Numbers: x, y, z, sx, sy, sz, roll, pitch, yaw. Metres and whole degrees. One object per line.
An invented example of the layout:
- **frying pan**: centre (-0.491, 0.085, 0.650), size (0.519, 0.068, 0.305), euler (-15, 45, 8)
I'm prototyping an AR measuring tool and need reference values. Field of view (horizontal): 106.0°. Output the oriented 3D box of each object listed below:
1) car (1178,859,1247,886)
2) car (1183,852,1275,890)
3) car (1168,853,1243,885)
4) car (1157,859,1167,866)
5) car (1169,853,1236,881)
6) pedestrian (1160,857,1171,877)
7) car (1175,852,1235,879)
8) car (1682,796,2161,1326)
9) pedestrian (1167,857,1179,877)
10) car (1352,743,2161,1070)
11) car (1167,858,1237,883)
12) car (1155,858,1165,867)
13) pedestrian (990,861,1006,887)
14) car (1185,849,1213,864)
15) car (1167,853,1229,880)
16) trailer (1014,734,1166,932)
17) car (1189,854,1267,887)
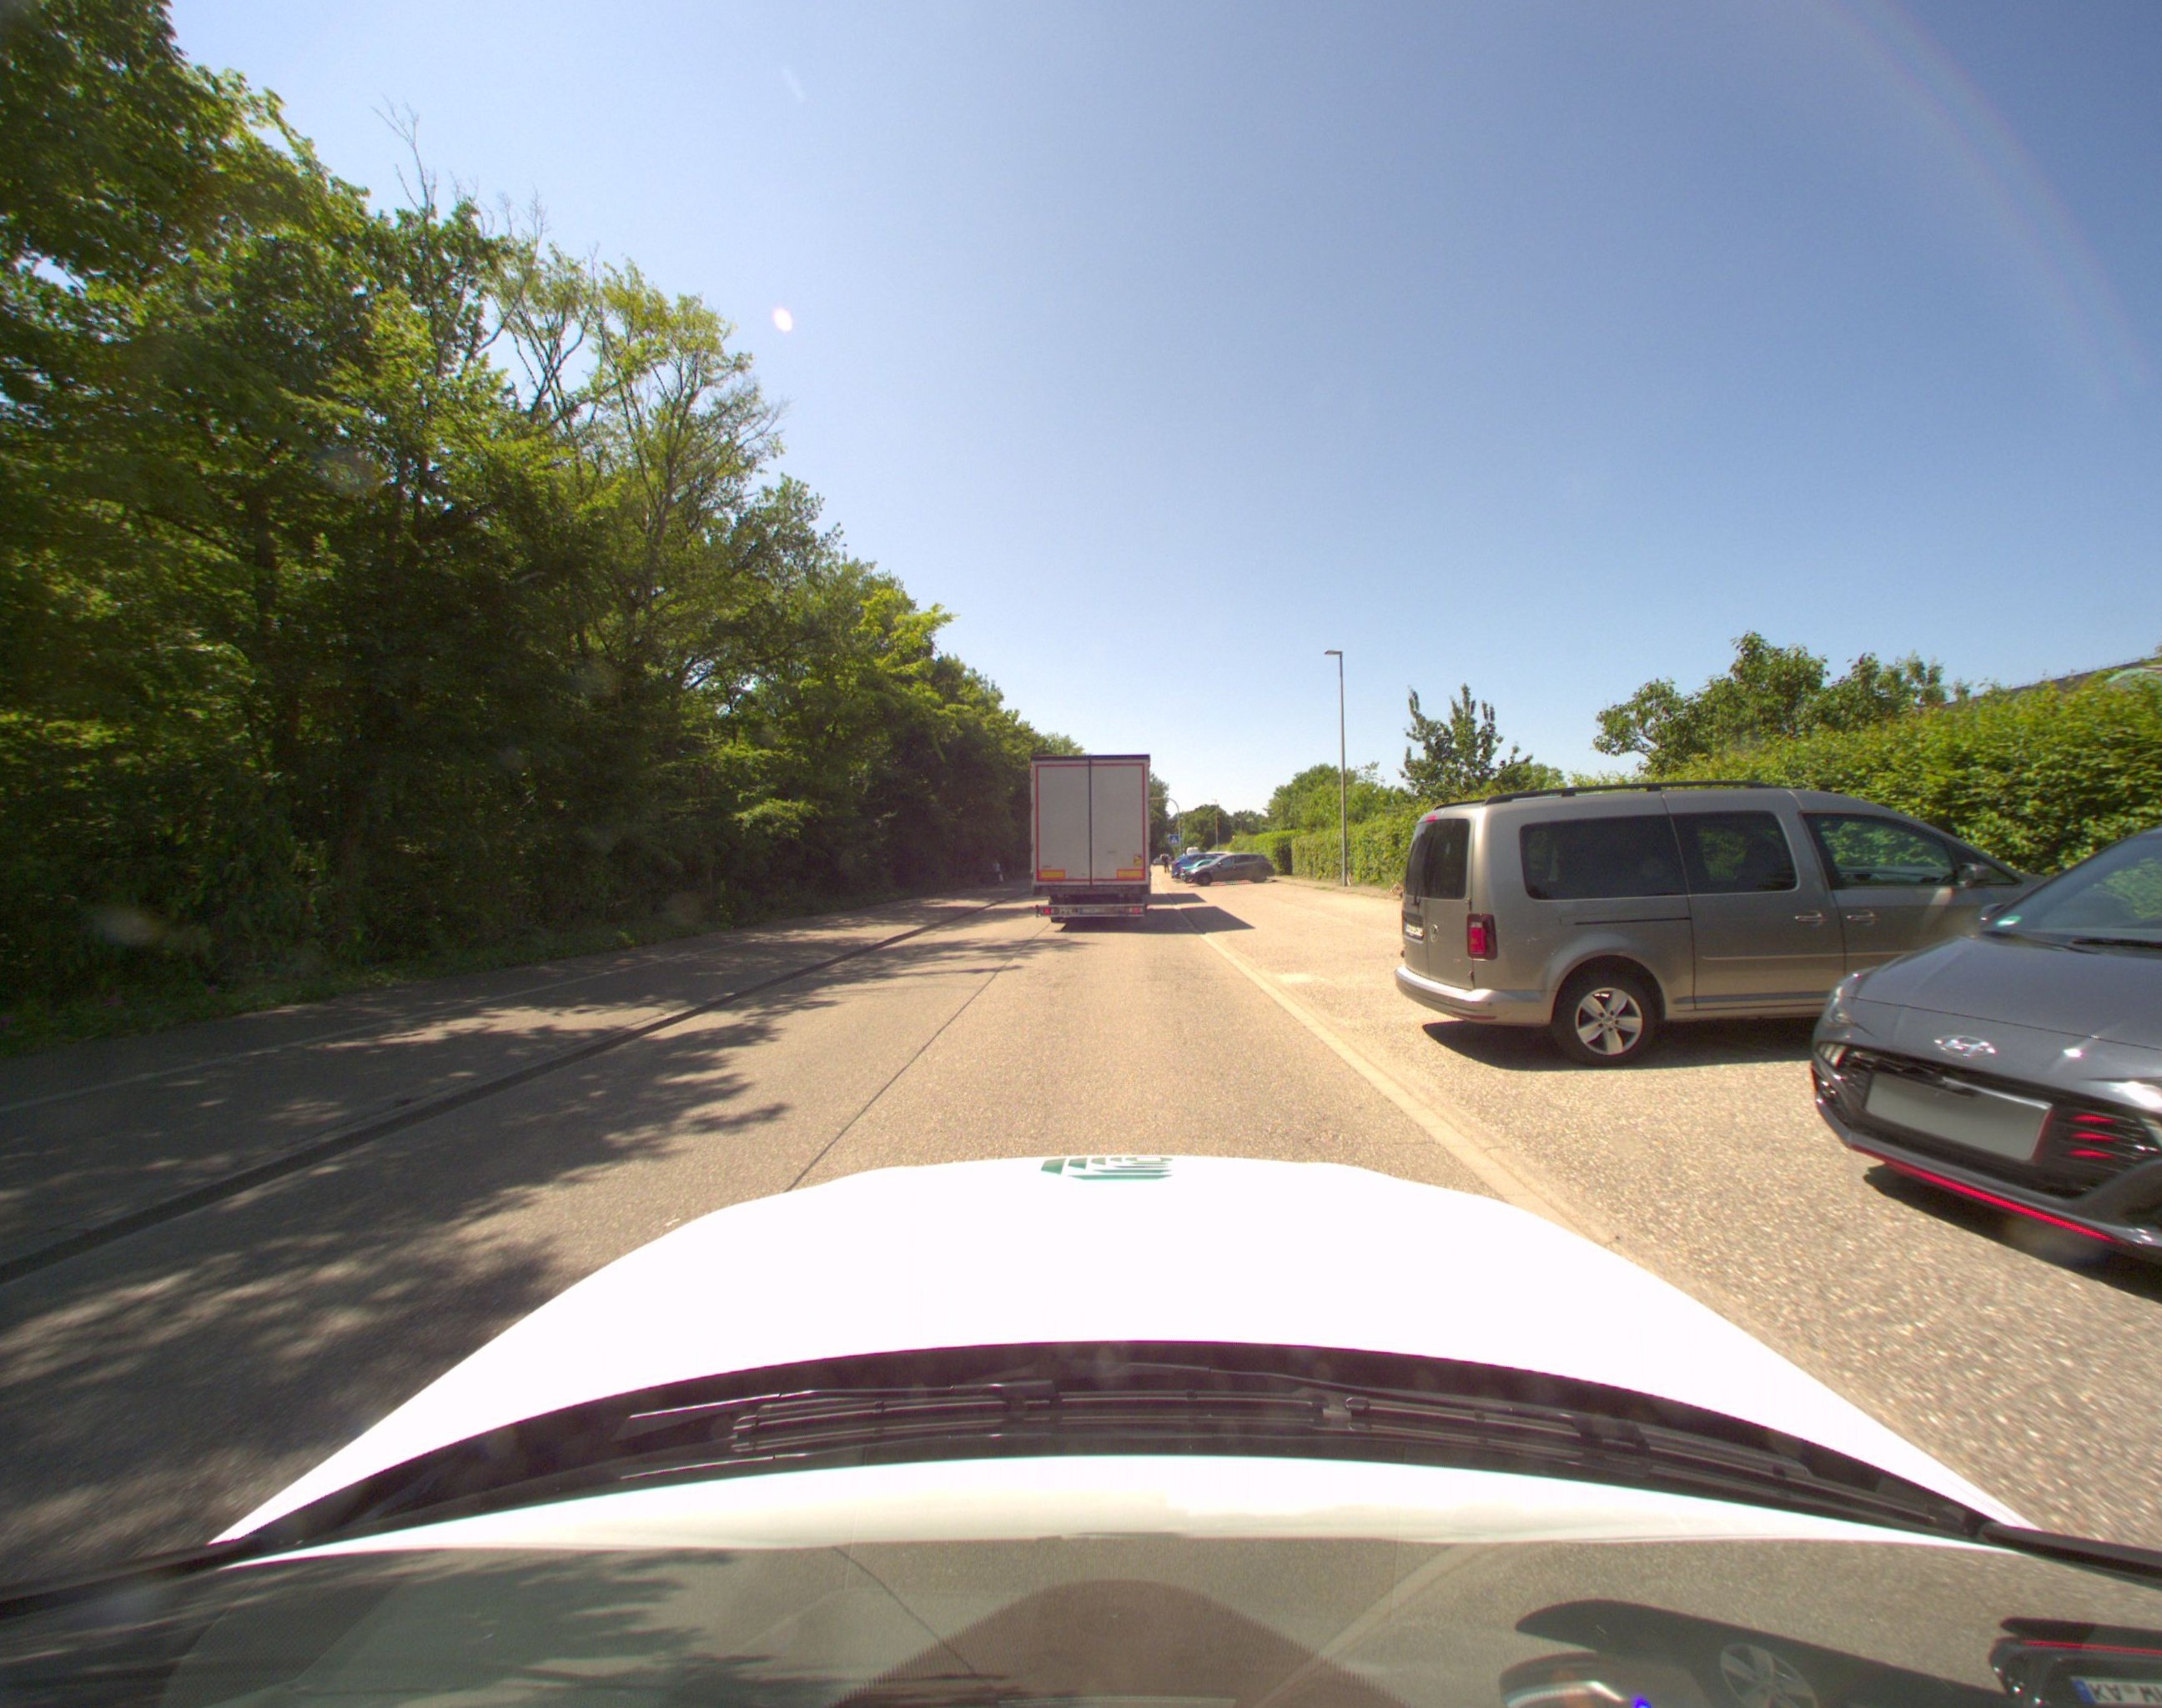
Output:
- **car**: centre (7.374, 1.031, 45.944), size (3.717, 1.268, 1.630), euler (-4, -2, 5)
- **car**: centre (7.145, 0.839, 39.771), size (4.146, 1.495, 1.884), euler (-4, -2, 3)
- **car**: centre (7.389, 0.901, 48.751), size (4.220, 1.634, 1.824), euler (-4, -1, 3)
- **car**: centre (15.571, 1.632, 156.194), size (1.612, 1.424, 3.670), euler (-2, -1, 2)
- **car**: centre (8.105, 0.894, 54.750), size (4.219, 1.654, 1.901), euler (-2, -3, 2)
- **pedestrian**: centre (8.081, 1.260, 78.000), size (0.817, 1.834, 0.794), euler (-5, -2, 10)
- **car**: centre (8.907, 0.829, 58.792), size (4.106, 1.657, 1.889), euler (-3, -1, 5)
- **car**: centre (4.788, 0.494, 3.156), size (3.568, 1.502, 1.839), euler (-4, -1, -4)
- **pedestrian**: centre (8.566, 1.241, 75.718), size (0.902, 1.798, 0.937), euler (-5, -2, 10)
- **car**: centre (4.771, 0.355, 6.316), size (4.603, 1.848, 1.997), euler (-4, -1, 2)
- **car**: centre (7.634, 1.064, 51.748), size (4.120, 1.439, 1.813), euler (-2, -1, -2)
- **car**: centre (13.515, 1.428, 139.486), size (1.772, 1.486, 4.005), euler (-1, -1, 5)
- **pedestrian**: centre (-5.151, 1.251, 50.625), size (0.825, 1.623, 0.783), euler (0, -1, 2)
- **car**: centre (17.305, 0.412, 119.257), size (3.935, 1.798, 1.817), euler (-4, -3, 7)
- **car**: centre (8.787, 0.934, 61.351), size (4.387, 1.698, 1.878), euler (-4, -2, 2)
- **trailer**: centre (0.539, -0.403, 22.950), size (3.099, 4.102, 11.546), euler (-2, -1, 3)
- **car**: centre (7.675, 0.860, 42.848), size (3.785, 1.455, 1.776), euler (-4, -2, 3)
